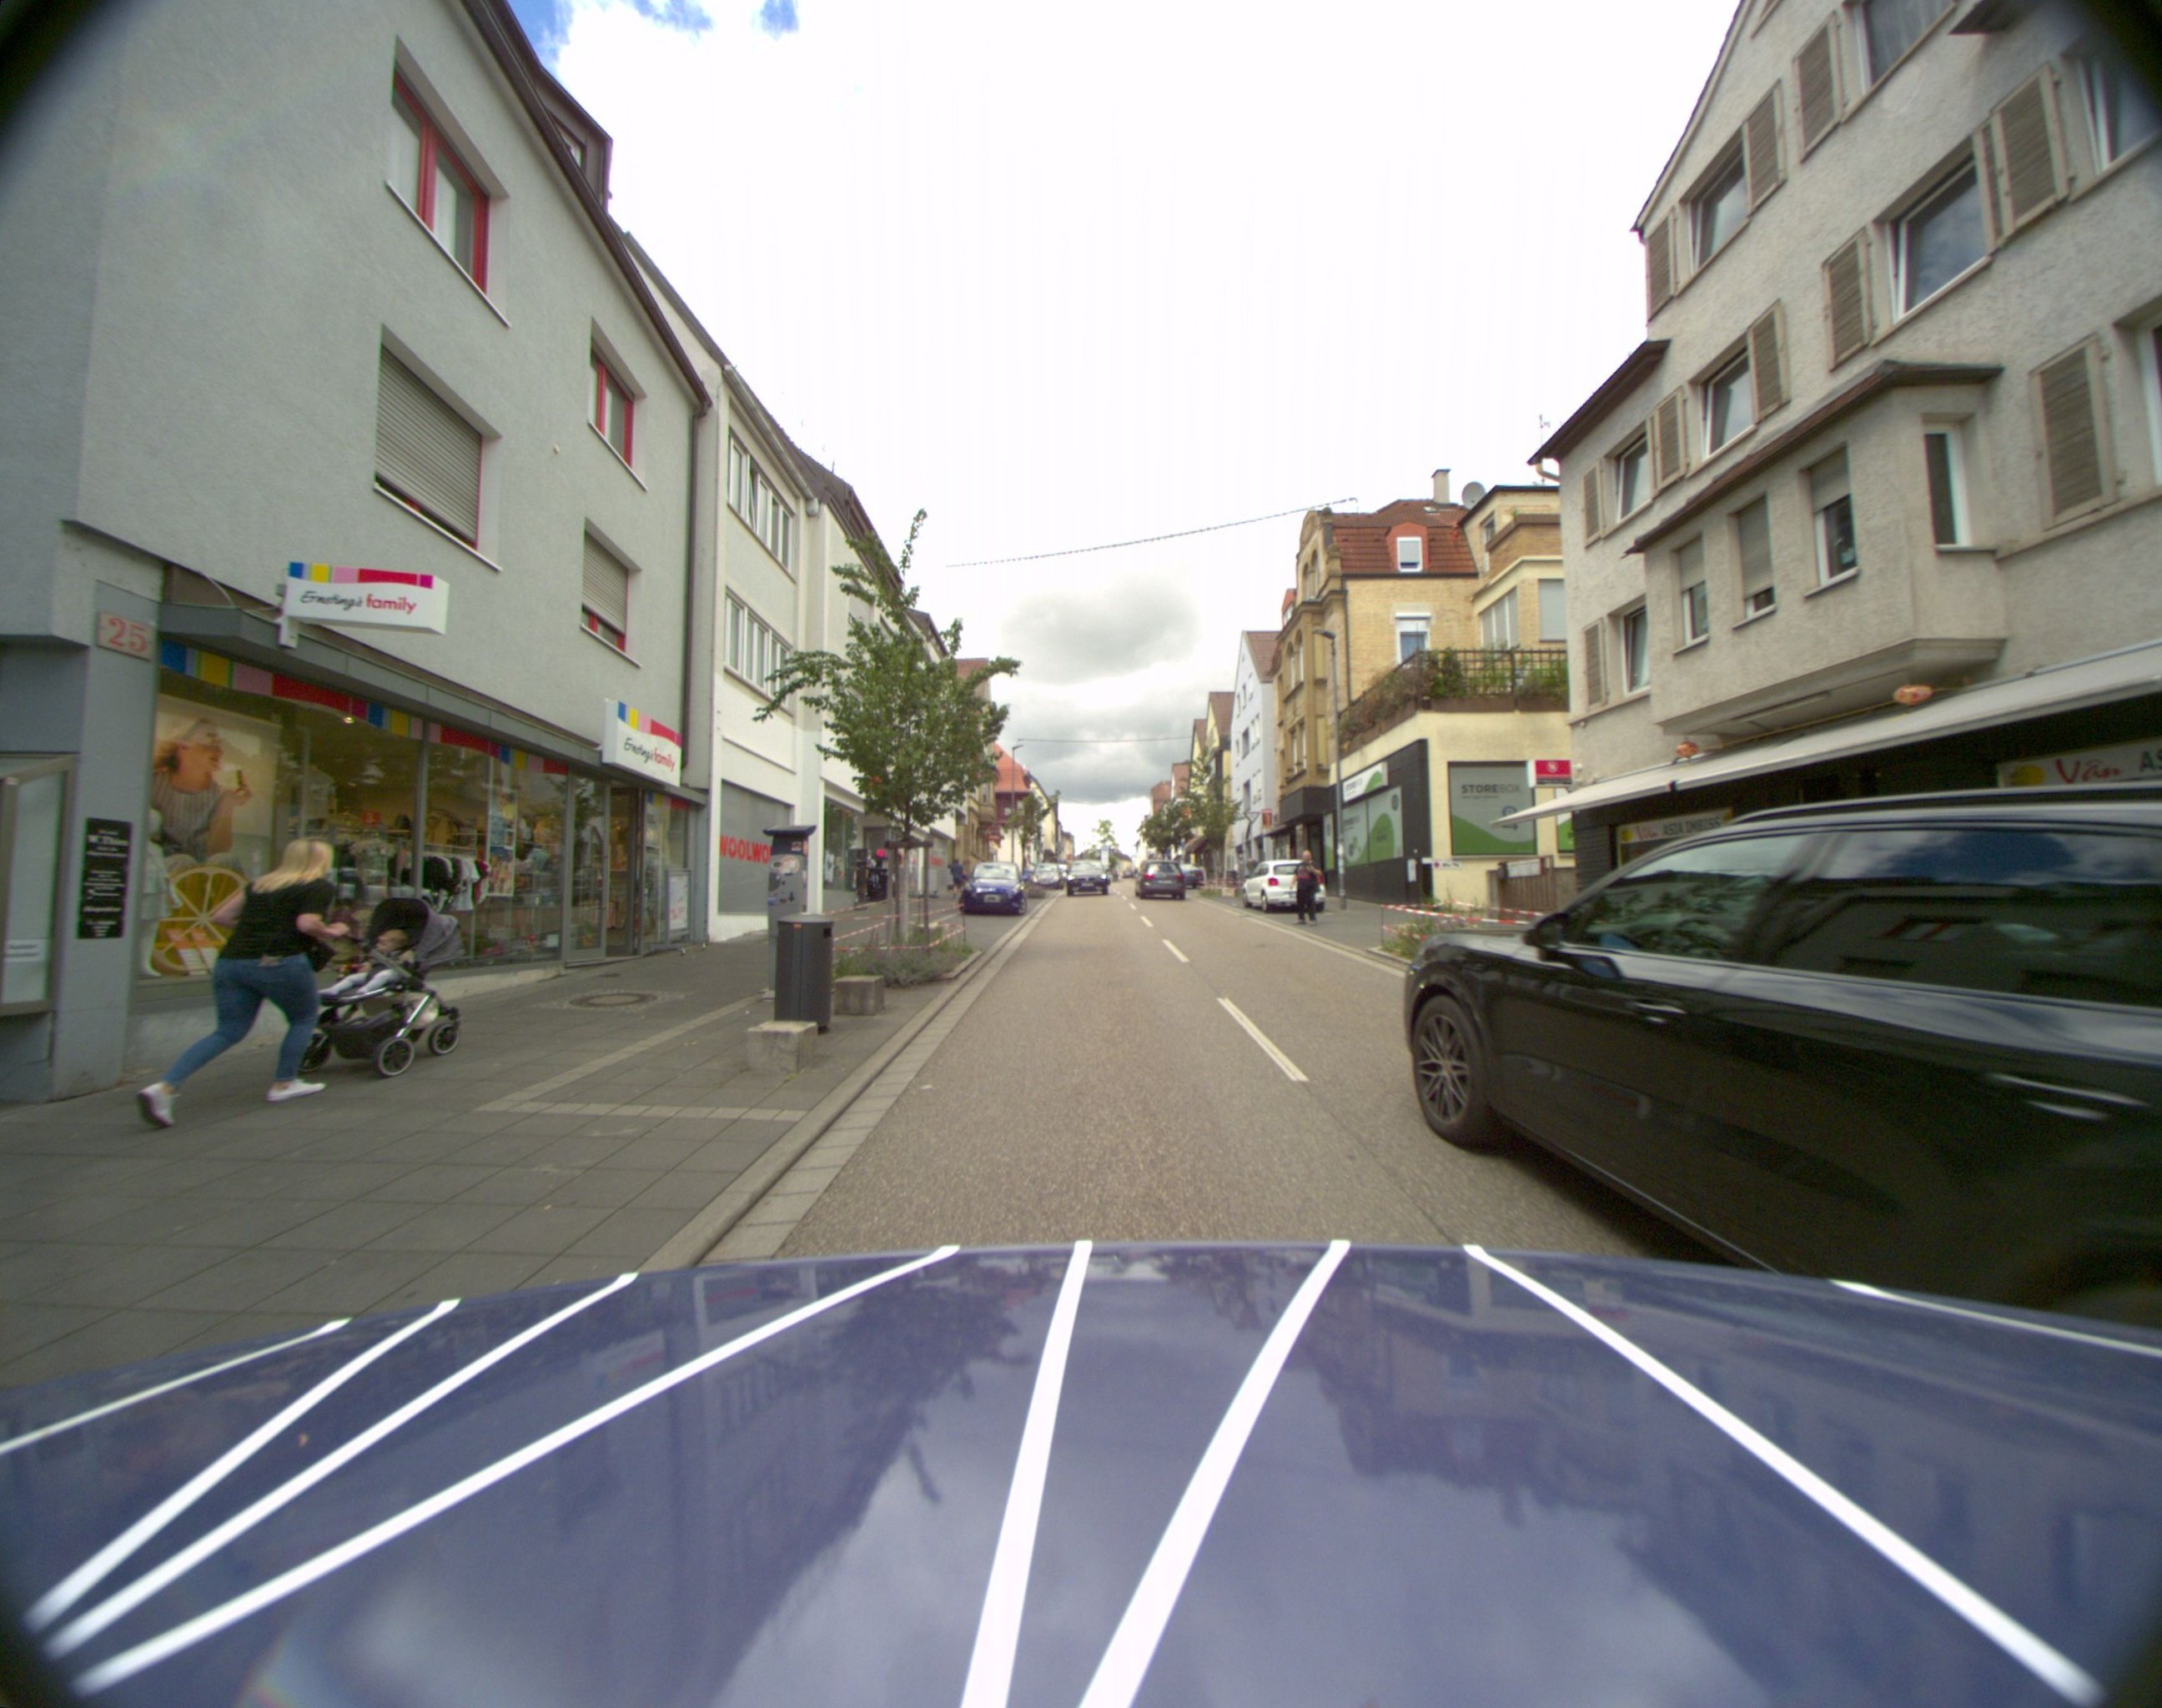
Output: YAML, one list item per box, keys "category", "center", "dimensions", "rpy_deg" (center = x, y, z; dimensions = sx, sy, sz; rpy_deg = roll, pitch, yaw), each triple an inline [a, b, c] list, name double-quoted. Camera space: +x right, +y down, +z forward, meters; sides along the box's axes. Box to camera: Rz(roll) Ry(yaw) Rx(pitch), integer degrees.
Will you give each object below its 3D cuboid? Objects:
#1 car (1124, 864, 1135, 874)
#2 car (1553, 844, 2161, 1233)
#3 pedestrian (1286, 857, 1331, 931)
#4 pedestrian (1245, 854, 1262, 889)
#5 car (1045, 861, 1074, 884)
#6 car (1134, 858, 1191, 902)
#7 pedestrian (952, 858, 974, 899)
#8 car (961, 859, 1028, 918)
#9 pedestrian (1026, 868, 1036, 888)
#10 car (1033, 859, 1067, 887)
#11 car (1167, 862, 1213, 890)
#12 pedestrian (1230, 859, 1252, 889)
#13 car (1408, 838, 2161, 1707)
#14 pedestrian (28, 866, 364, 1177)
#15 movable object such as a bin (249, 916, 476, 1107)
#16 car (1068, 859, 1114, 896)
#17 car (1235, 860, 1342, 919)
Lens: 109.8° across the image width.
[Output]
- category: "car"
  center: [8.775, 2.710, 138.671]
  dimensions: [1.968, 1.611, 4.356]
  rpy_deg: [-2, 0, 3]
- category: "car"
  center: [5.536, 0.781, 4.988]
  dimensions: [1.931, 1.612, 4.639]
  rpy_deg: [-2, 0, 0]
- category: "pedestrian"
  center: [5.212, 0.902, 17.440]
  dimensions: [0.739, 1.662, 0.863]
  rpy_deg: [-1, 0, -2]
- category: "pedestrian"
  center: [8.624, 0.865, 37.964]
  dimensions: [0.588, 1.703, 0.710]
  rpy_deg: [-3, 0, 1]
- category: "car"
  center: [-1.736, 1.477, 62.022]
  dimensions: [1.881, 1.788, 4.734]
  rpy_deg: [-1, -1, 4]
- category: "car"
  center: [3.216, 1.008, 30.670]
  dimensions: [1.823, 1.608, 4.136]
  rpy_deg: [1, 0, 0]
- category: "pedestrian"
  center: [-4.485, 0.922, 28.919]
  dimensions: [0.758, 1.551, 0.817]
  rpy_deg: [0, -1, -2]
- category: "car"
  center: [-2.452, 0.934, 22.331]
  dimensions: [1.753, 1.489, 3.798]
  rpy_deg: [2, 0, -4]
- category: "pedestrian"
  center: [-4.346, 2.069, 66.039]
  dimensions: [0.798, 1.716, 1.053]
  rpy_deg: [0, -1, 1]
- category: "car"
  center: [-1.847, 1.151, 45.855]
  dimensions: [1.752, 1.598, 3.801]
  rpy_deg: [1, -1, 2]
- category: "car"
  center: [6.367, 1.268, 44.749]
  dimensions: [1.931, 1.483, 4.843]
  rpy_deg: [-3, -1, 0]
- category: "pedestrian"
  center: [7.867, 0.975, 37.379]
  dimensions: [0.828, 1.454, 0.810]
  rpy_deg: [-3, 0, 0]
- category: "car"
  center: [2.876, 0.841, 2.178]
  dimensions: [1.997, 1.708, 4.447]
  rpy_deg: [1, 0, 1]
- category: "pedestrian"
  center: [-5.037, 0.870, 4.417]
  dimensions: [0.737, 1.575, 1.000]
  rpy_deg: [2, 0, 0]
- category: "movable object such as a bin"
  center: [-5.025, 1.060, 5.384]
  dimensions: [0.723, 1.151, 0.907]
  rpy_deg: [1, 0, 0]
- category: "car"
  center: [0.409, 1.025, 34.489]
  dimensions: [1.914, 1.559, 4.372]
  rpy_deg: [-1, -1, 0]
- category: "car"
  center: [6.041, 1.005, 22.686]
  dimensions: [1.931, 1.502, 4.262]
  rpy_deg: [-3, -1, 0]
